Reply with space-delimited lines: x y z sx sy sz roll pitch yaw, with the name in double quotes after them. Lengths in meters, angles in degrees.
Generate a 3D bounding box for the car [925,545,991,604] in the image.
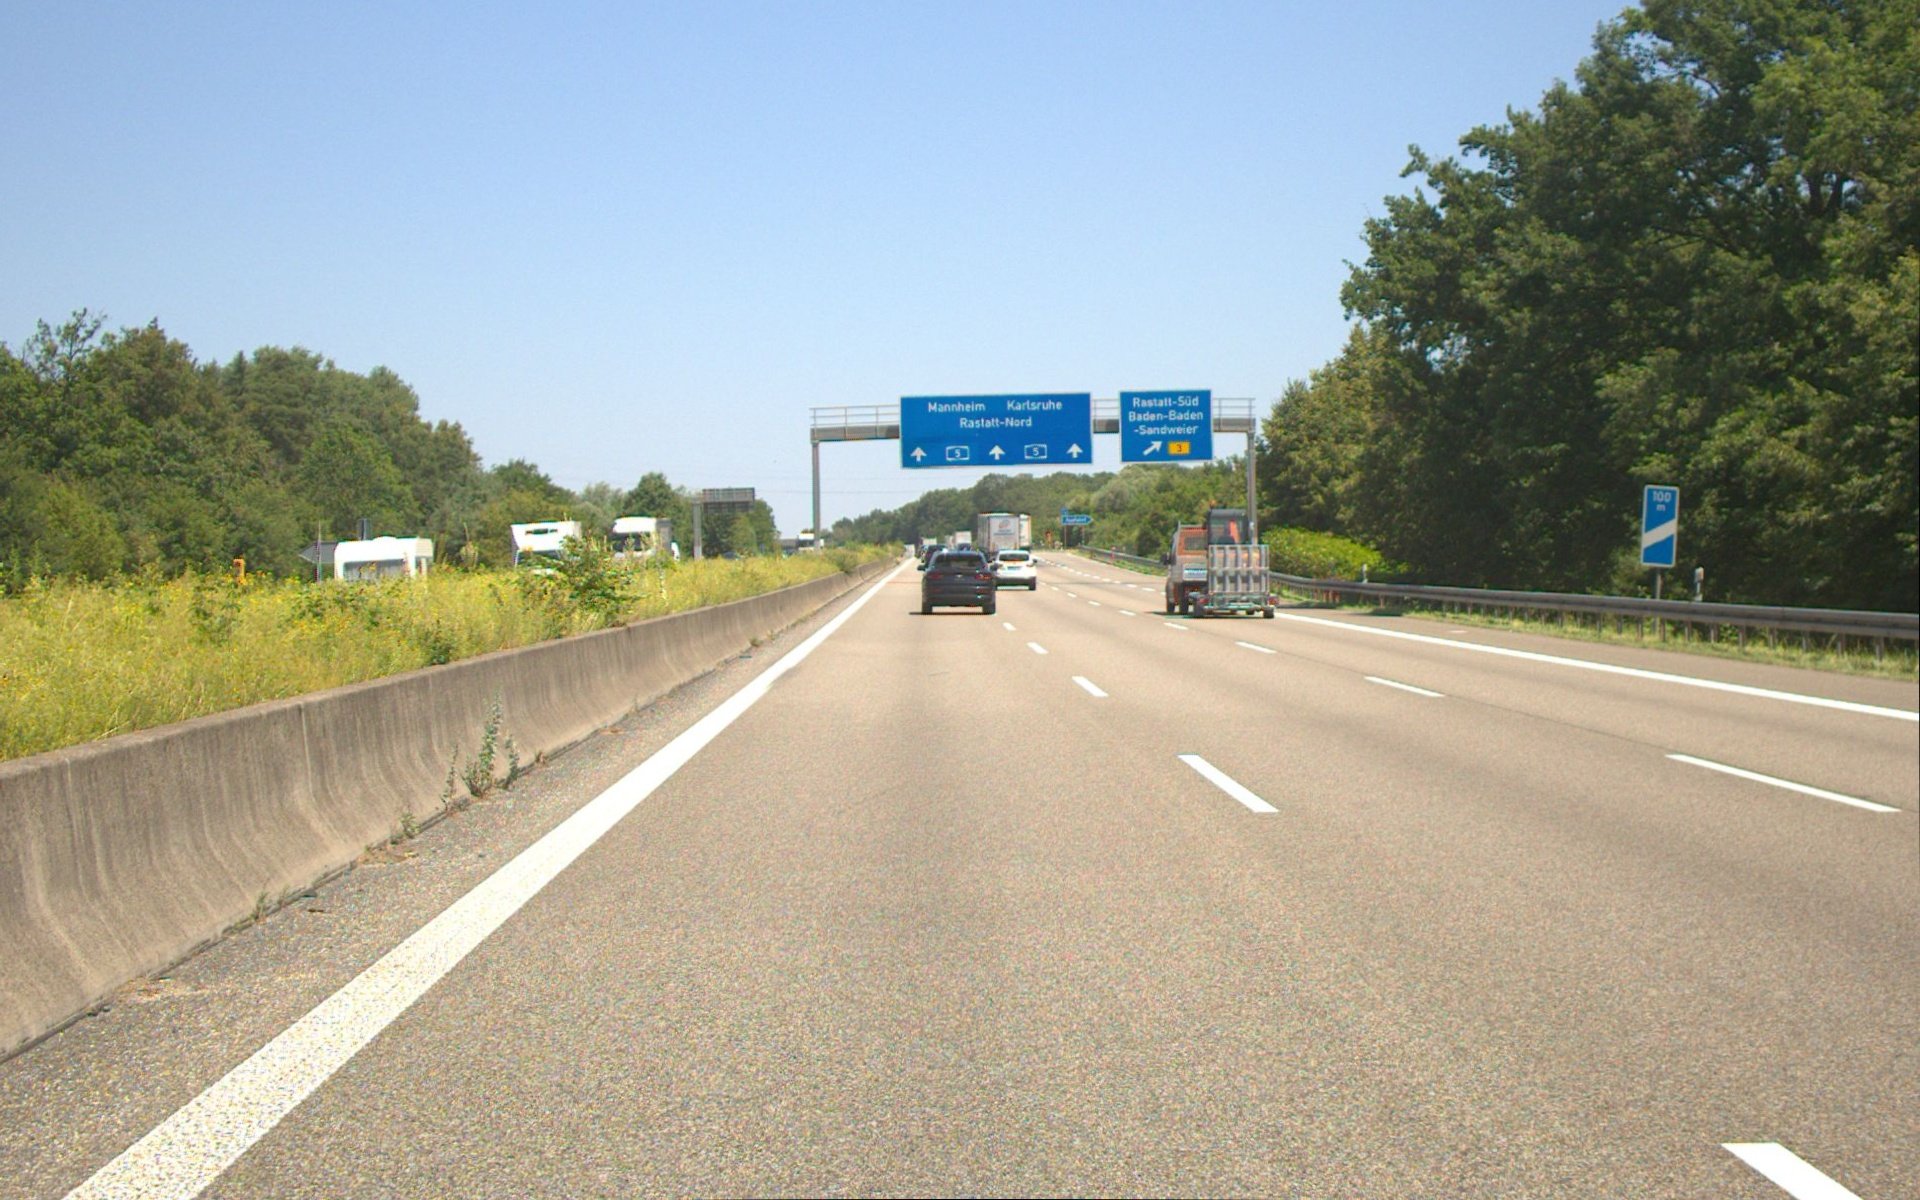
-0.073 -0.710 93.620 1.660 1.544 3.784 0 1 -2 "car"

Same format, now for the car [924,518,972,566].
-0.544 -2.507 149.174 1.993 2.007 4.000 -1 1 -1 "car"

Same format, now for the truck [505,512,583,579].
-14.929 -1.942 123.642 2.310 2.318 6.080 0 0 -3 "truck"

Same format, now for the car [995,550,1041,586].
2.397 -1.320 142.987 1.740 1.481 4.000 0 1 -1 "car"

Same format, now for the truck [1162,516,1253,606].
6.672 -1.069 93.083 1.993 2.365 4.645 0 1 -2 "truck"

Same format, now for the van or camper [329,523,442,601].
-15.474 -1.021 92.862 2.221 2.007 5.888 0 0 -2 "van or camper"

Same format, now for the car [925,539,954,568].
-1.493 -3.364 249.977 1.993 2.007 4.000 -2 0 -1 "car"

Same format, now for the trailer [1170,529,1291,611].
6.845 -0.796 87.736 2.420 2.007 6.034 0 1 -2 "trailer"

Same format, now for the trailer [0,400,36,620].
-14.094 -1.120 40.955 2.642 2.959 14.234 -1 1 -1 "trailer"
